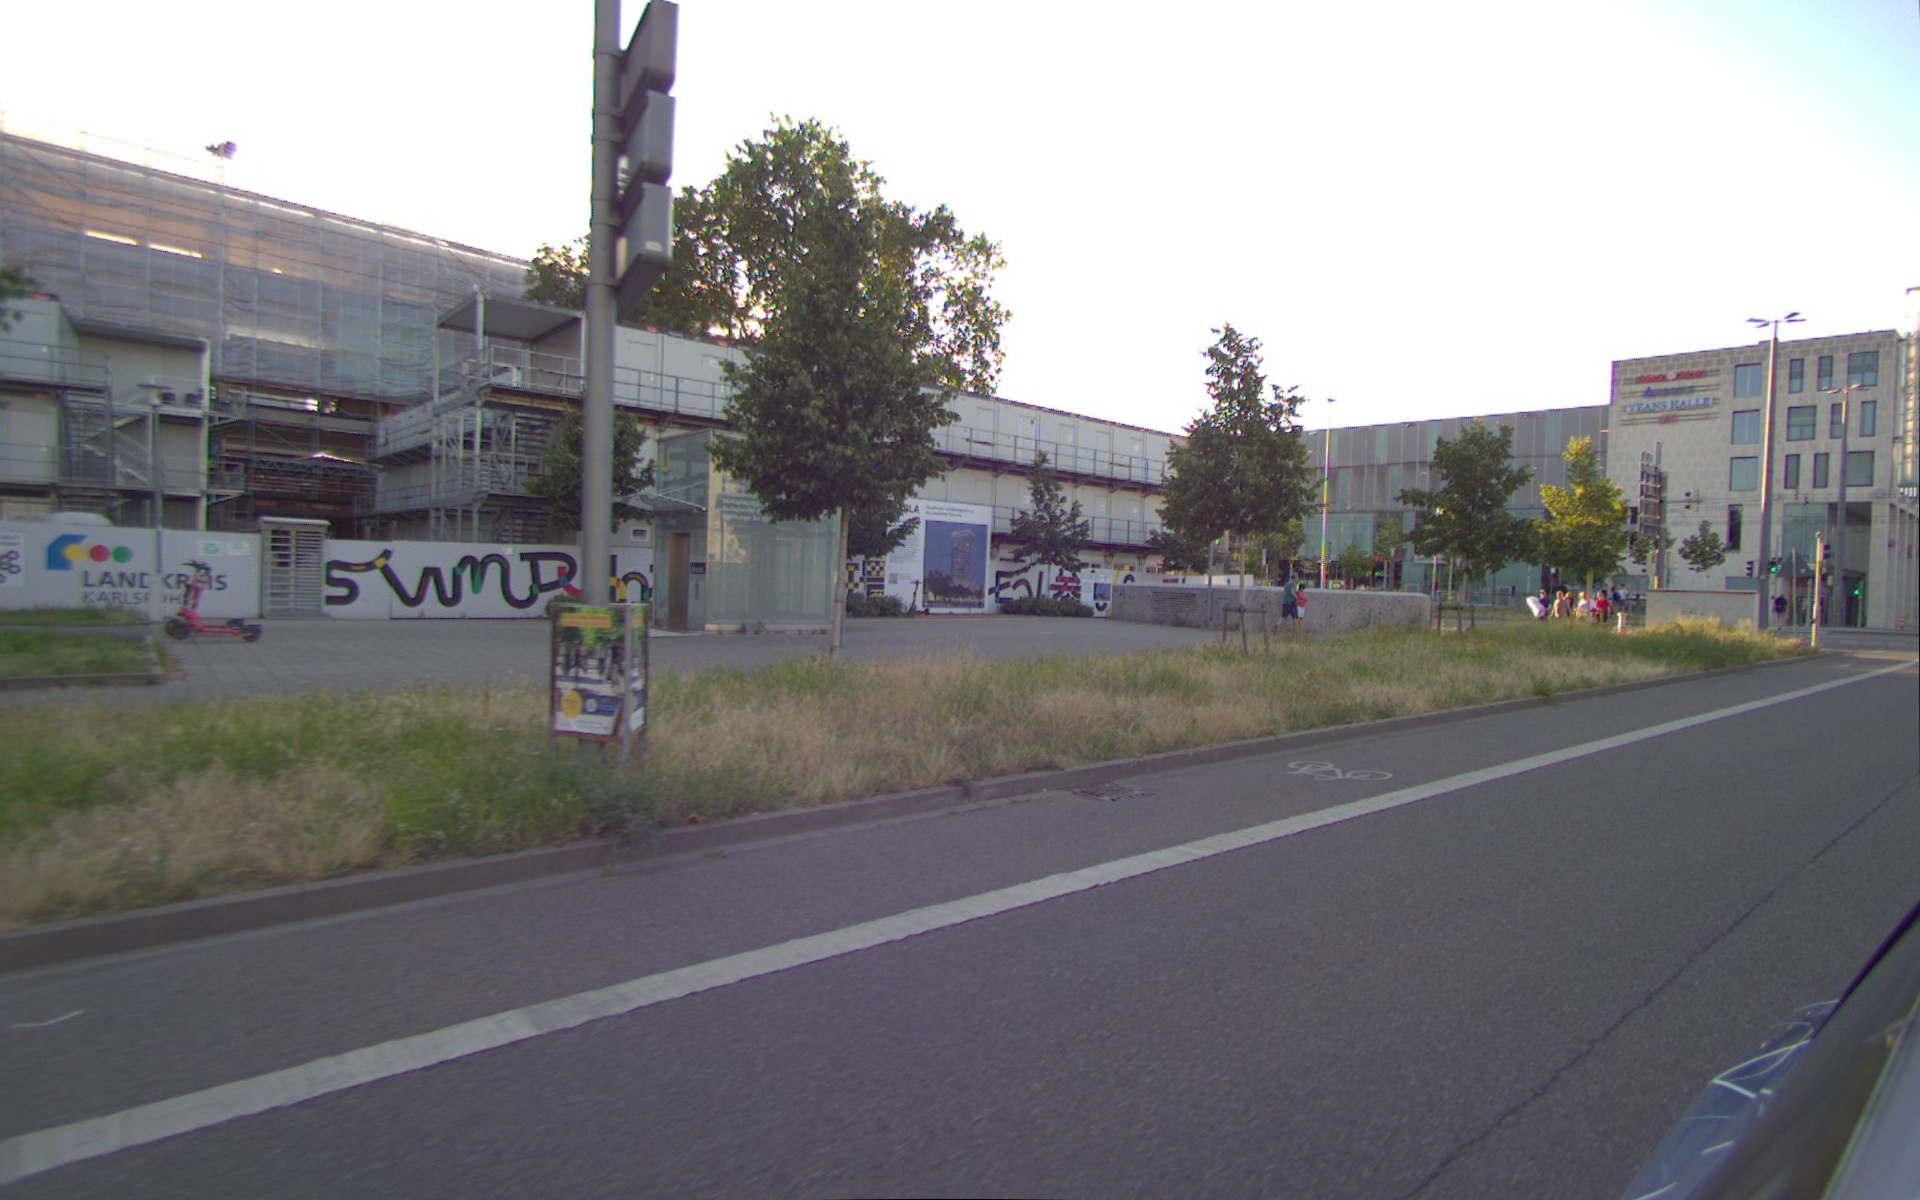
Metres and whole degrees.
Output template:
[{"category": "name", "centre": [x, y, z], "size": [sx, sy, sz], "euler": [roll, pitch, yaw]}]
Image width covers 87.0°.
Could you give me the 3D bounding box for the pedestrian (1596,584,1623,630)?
[{"category": "pedestrian", "centre": [25.029, 0.275, 38.975], "size": [0.856, 1.734, 0.643], "euler": [2, 0, -43]}]

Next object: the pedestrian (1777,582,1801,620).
[{"category": "pedestrian", "centre": [39.060, 0.046, 47.678], "size": [0.855, 1.752, 0.644], "euler": [0, 2, -38]}]

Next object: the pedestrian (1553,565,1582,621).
[{"category": "pedestrian", "centre": [21.267, -0.251, 35.415], "size": [0.608, 1.957, 0.644], "euler": [0, 1, -38]}]

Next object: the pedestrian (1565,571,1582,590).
[{"category": "pedestrian", "centre": [33.896, -1.075, 55.949], "size": [0.648, 0.975, 0.644], "euler": [3, 1, 44]}]

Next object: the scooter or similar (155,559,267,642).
[{"category": "scooter or similar", "centre": [-11.730, 0.011, 15.862], "size": [1.373, 1.235, 0.425], "euler": [1, 4, -40]}]

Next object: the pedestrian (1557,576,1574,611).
[{"category": "pedestrian", "centre": [33.076, -0.371, 55.292], "size": [0.575, 1.877, 0.604], "euler": [1, 2, -37]}]

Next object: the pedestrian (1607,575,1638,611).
[{"category": "pedestrian", "centre": [35.719, -0.391, 54.571], "size": [0.986, 1.876, 0.896], "euler": [0, 4, -28]}]

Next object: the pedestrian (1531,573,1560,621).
[{"category": "pedestrian", "centre": [21.784, -0.108, 37.660], "size": [0.748, 1.734, 0.644], "euler": [2, 0, -39]}]

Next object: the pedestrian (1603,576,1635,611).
[{"category": "pedestrian", "centre": [34.964, -0.339, 53.681], "size": [0.986, 1.744, 0.873], "euler": [1, 4, -14]}]

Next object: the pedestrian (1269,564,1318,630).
[{"category": "pedestrian", "centre": [9.620, -0.088, 29.214], "size": [1.027, 1.838, 0.817], "euler": [2, 0, -35]}]

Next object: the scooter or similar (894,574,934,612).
[{"category": "scooter or similar", "centre": [-1.592, -0.248, 34.928], "size": [0.466, 1.235, 1.572], "euler": [0, 2, -42]}]

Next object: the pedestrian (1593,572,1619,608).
[{"category": "pedestrian", "centre": [35.373, -0.566, 55.440], "size": [0.882, 1.876, 0.723], "euler": [3, 4, 16]}]

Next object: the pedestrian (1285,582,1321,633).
[{"category": "pedestrian", "centre": [10.400, 0.221, 30.681], "size": [0.633, 1.509, 0.762], "euler": [3, 0, -40]}]

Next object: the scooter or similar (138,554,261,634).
[{"category": "scooter or similar", "centre": [-12.532, -0.100, 16.709], "size": [0.473, 1.235, 1.550], "euler": [6, 4, 43]}]

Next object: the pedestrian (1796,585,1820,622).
[{"category": "pedestrian", "centre": [39.451, 0.173, 47.081], "size": [0.855, 1.680, 0.644], "euler": [0, 2, -38]}]
